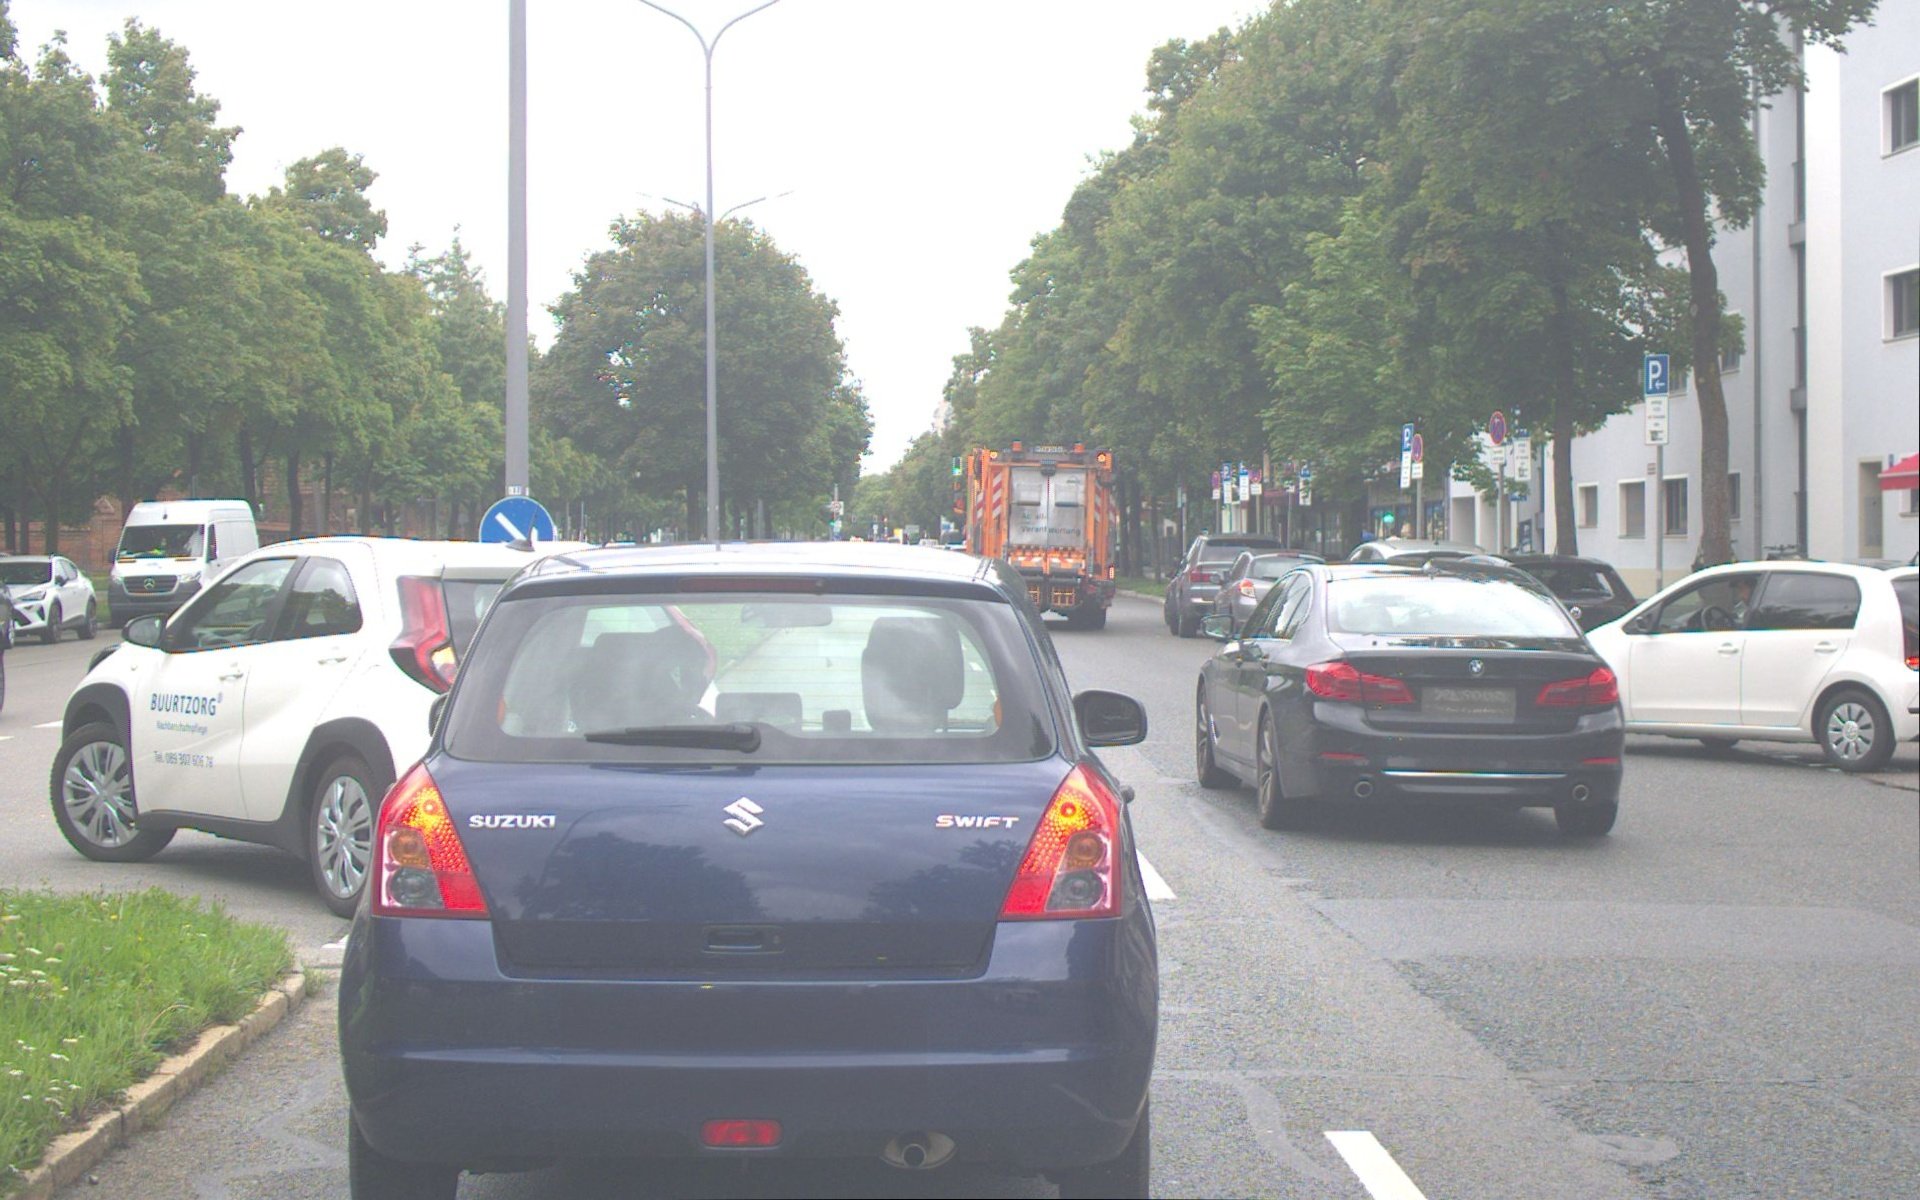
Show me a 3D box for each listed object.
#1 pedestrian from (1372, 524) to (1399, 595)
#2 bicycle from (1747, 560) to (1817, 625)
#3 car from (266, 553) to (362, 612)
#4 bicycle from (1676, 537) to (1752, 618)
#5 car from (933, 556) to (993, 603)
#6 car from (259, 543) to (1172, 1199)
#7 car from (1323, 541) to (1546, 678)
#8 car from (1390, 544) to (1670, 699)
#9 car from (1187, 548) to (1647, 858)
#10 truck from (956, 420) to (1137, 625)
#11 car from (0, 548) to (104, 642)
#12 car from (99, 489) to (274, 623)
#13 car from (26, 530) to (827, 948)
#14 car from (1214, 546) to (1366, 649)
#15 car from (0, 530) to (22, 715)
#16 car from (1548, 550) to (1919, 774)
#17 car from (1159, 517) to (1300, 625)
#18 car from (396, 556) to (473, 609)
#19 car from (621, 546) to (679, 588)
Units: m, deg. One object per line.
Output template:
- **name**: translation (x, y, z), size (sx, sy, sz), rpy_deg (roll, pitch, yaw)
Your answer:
- **pedestrian**: translation (10.450, -1.007, 84.458), size (0.499, 1.727, 0.733), rpy_deg (-2, 1, -1)
- **bicycle**: translation (13.727, -0.137, 57.465), size (0.621, 1.043, 2.195), rpy_deg (0, 1, -1)
- **car**: translation (-16.526, -0.433, 88.122), size (1.857, 1.485, 4.142), rpy_deg (0, 0, -2)
- **bicycle**: translation (13.537, -0.418, 61.818), size (0.702, 1.402, 2.593), rpy_deg (-2, 1, -1)
- **car**: translation (0.087, -0.680, 114.248), size (1.829, 1.517, 3.771), rpy_deg (0, 1, -2)
- **car**: translation (-0.485, 0.613, 8.607), size (1.753, 1.499, 4.000), rpy_deg (0, 1, 0)
- **car**: translation (5.555, 0.070, 40.757), size (1.829, 1.517, 4.524), rpy_deg (0, 1, -2)
- **car**: translation (5.713, 0.174, 34.906), size (1.829, 1.468, 3.889), rpy_deg (0, 1, -6)
- **car**: translation (2.431, 0.479, 19.466), size (1.821, 1.472, 4.691), rpy_deg (2, 1, -1)
- **truck**: translation (1.494, -1.478, 66.636), size (3.041, 3.545, 13.675), rpy_deg (0, 1, 0)
- **car**: translation (-15.971, -0.073, 58.573), size (1.821, 1.522, 4.299), rpy_deg (-2, 0, -2)
- **car**: translation (-16.249, -0.969, 72.621), size (2.139, 2.634, 7.106), rpy_deg (-1, 1, -1)
- **car**: translation (-2.395, 0.476, 14.741), size (1.822, 1.548, 3.720), rpy_deg (-1, 1, -38)
- **car**: translation (5.044, -0.065, 53.029), size (1.829, 1.517, 3.771), rpy_deg (0, 1, -2)
- **car**: translation (-9.095, 0.236, 27.844), size (1.821, 1.584, 4.502), rpy_deg (0, 2, -1)
- **car**: translation (6.126, 0.391, 24.941), size (1.687, 1.485, 3.434), rpy_deg (-1, 1, -38)
- **car**: translation (4.494, -0.510, 57.891), size (1.829, 1.740, 4.509), rpy_deg (0, 1, -2)
- **car**: translation (-16.426, -0.562, 107.560), size (1.886, 1.532, 4.315), rpy_deg (-3, 1, -3)
- **car**: translation (-11.075, -1.193, 123.043), size (1.815, 1.443, 4.783), rpy_deg (-1, 1, -2)
